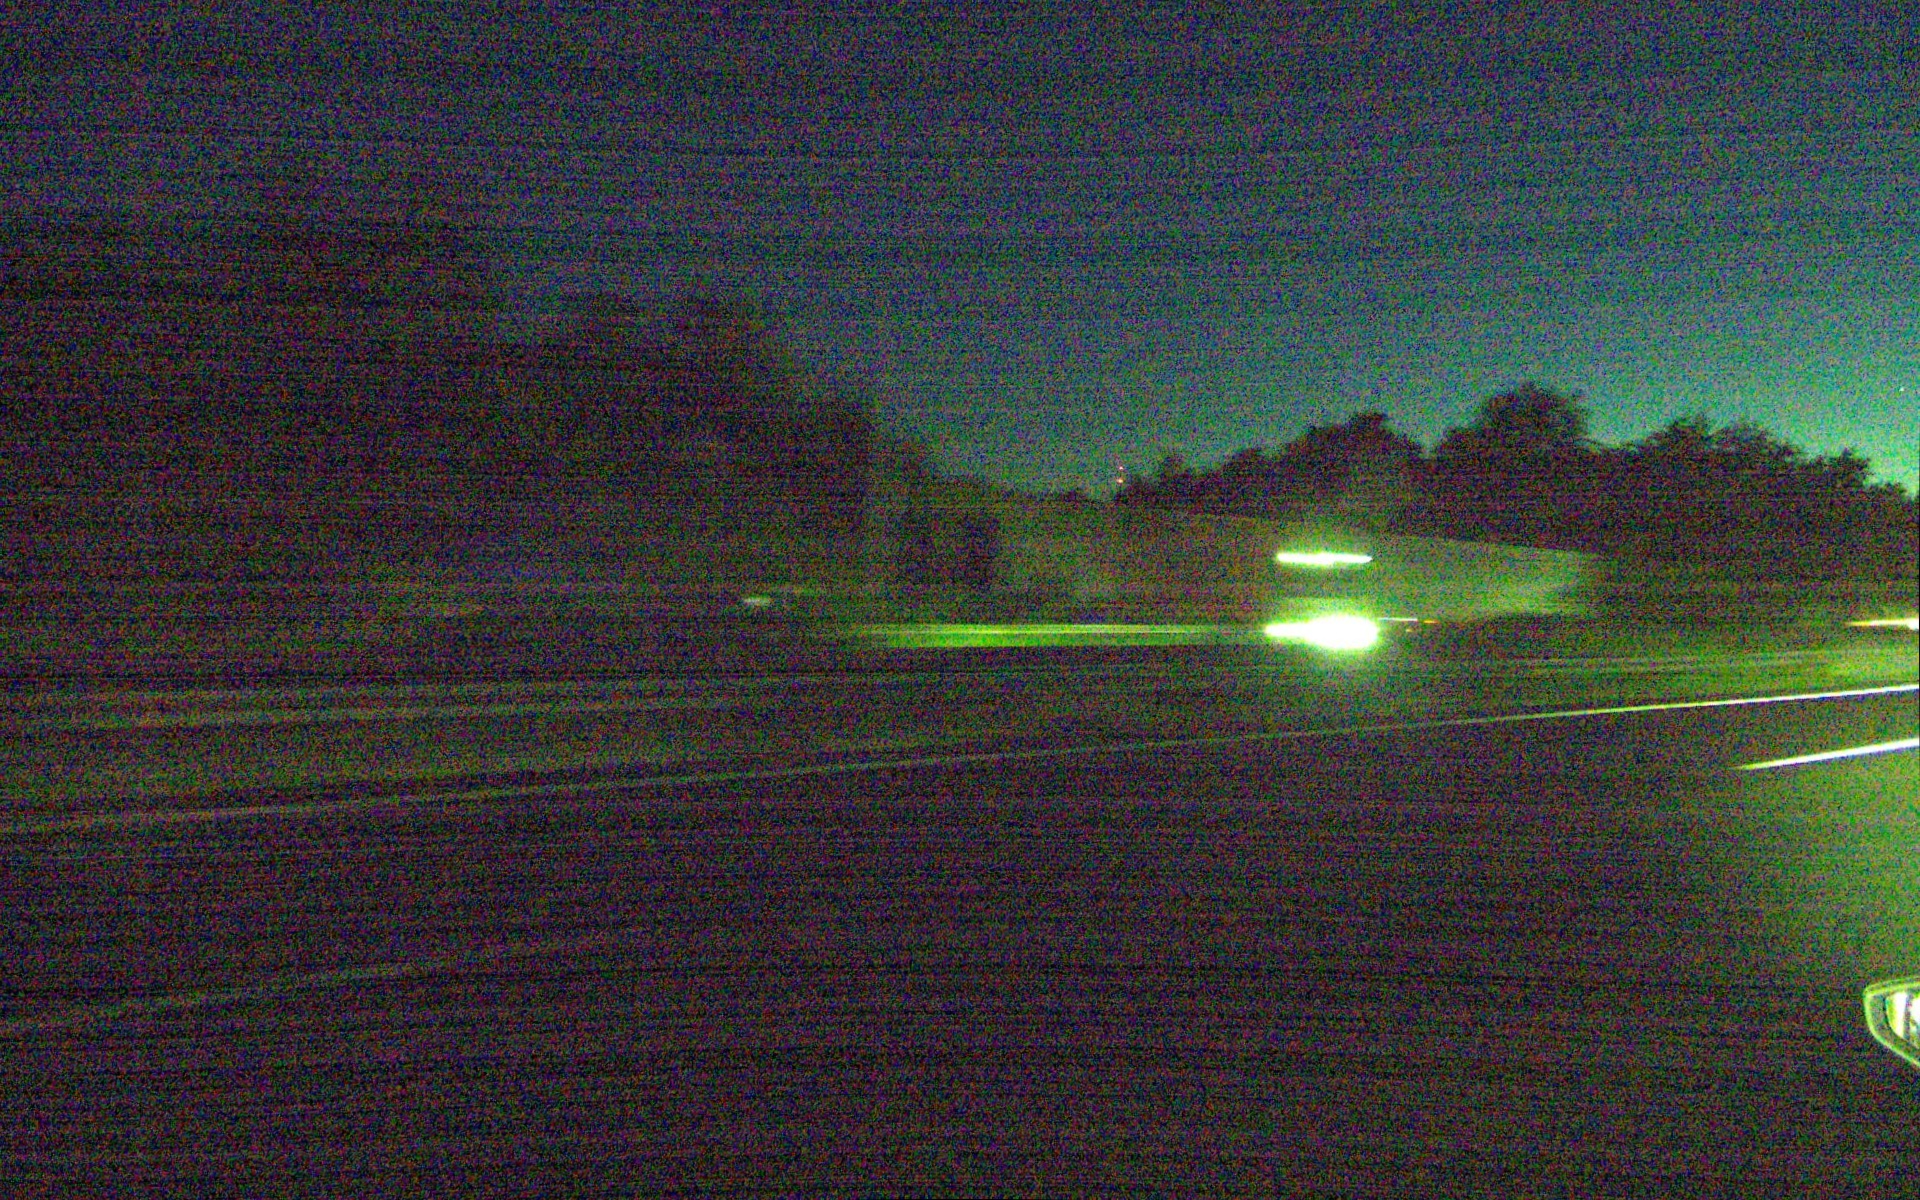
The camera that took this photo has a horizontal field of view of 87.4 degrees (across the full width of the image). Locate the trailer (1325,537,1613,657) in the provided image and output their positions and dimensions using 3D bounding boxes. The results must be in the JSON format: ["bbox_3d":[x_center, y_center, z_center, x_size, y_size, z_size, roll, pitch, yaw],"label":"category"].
[{"bbox_3d":[20.566,0.025,39.976,13.967,4.144,3.579,1,-1,-32],"label":"trailer"}]

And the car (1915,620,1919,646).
[{"bbox_3d":[74.428,2.506,75.871,4.465,1.900,2.383,1,-1,-34],"label":"car"}]

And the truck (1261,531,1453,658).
[{"bbox_3d":[14.235,-0.125,36.006,5.927,4.154,3.571,1,-1,-32],"label":"truck"}]
